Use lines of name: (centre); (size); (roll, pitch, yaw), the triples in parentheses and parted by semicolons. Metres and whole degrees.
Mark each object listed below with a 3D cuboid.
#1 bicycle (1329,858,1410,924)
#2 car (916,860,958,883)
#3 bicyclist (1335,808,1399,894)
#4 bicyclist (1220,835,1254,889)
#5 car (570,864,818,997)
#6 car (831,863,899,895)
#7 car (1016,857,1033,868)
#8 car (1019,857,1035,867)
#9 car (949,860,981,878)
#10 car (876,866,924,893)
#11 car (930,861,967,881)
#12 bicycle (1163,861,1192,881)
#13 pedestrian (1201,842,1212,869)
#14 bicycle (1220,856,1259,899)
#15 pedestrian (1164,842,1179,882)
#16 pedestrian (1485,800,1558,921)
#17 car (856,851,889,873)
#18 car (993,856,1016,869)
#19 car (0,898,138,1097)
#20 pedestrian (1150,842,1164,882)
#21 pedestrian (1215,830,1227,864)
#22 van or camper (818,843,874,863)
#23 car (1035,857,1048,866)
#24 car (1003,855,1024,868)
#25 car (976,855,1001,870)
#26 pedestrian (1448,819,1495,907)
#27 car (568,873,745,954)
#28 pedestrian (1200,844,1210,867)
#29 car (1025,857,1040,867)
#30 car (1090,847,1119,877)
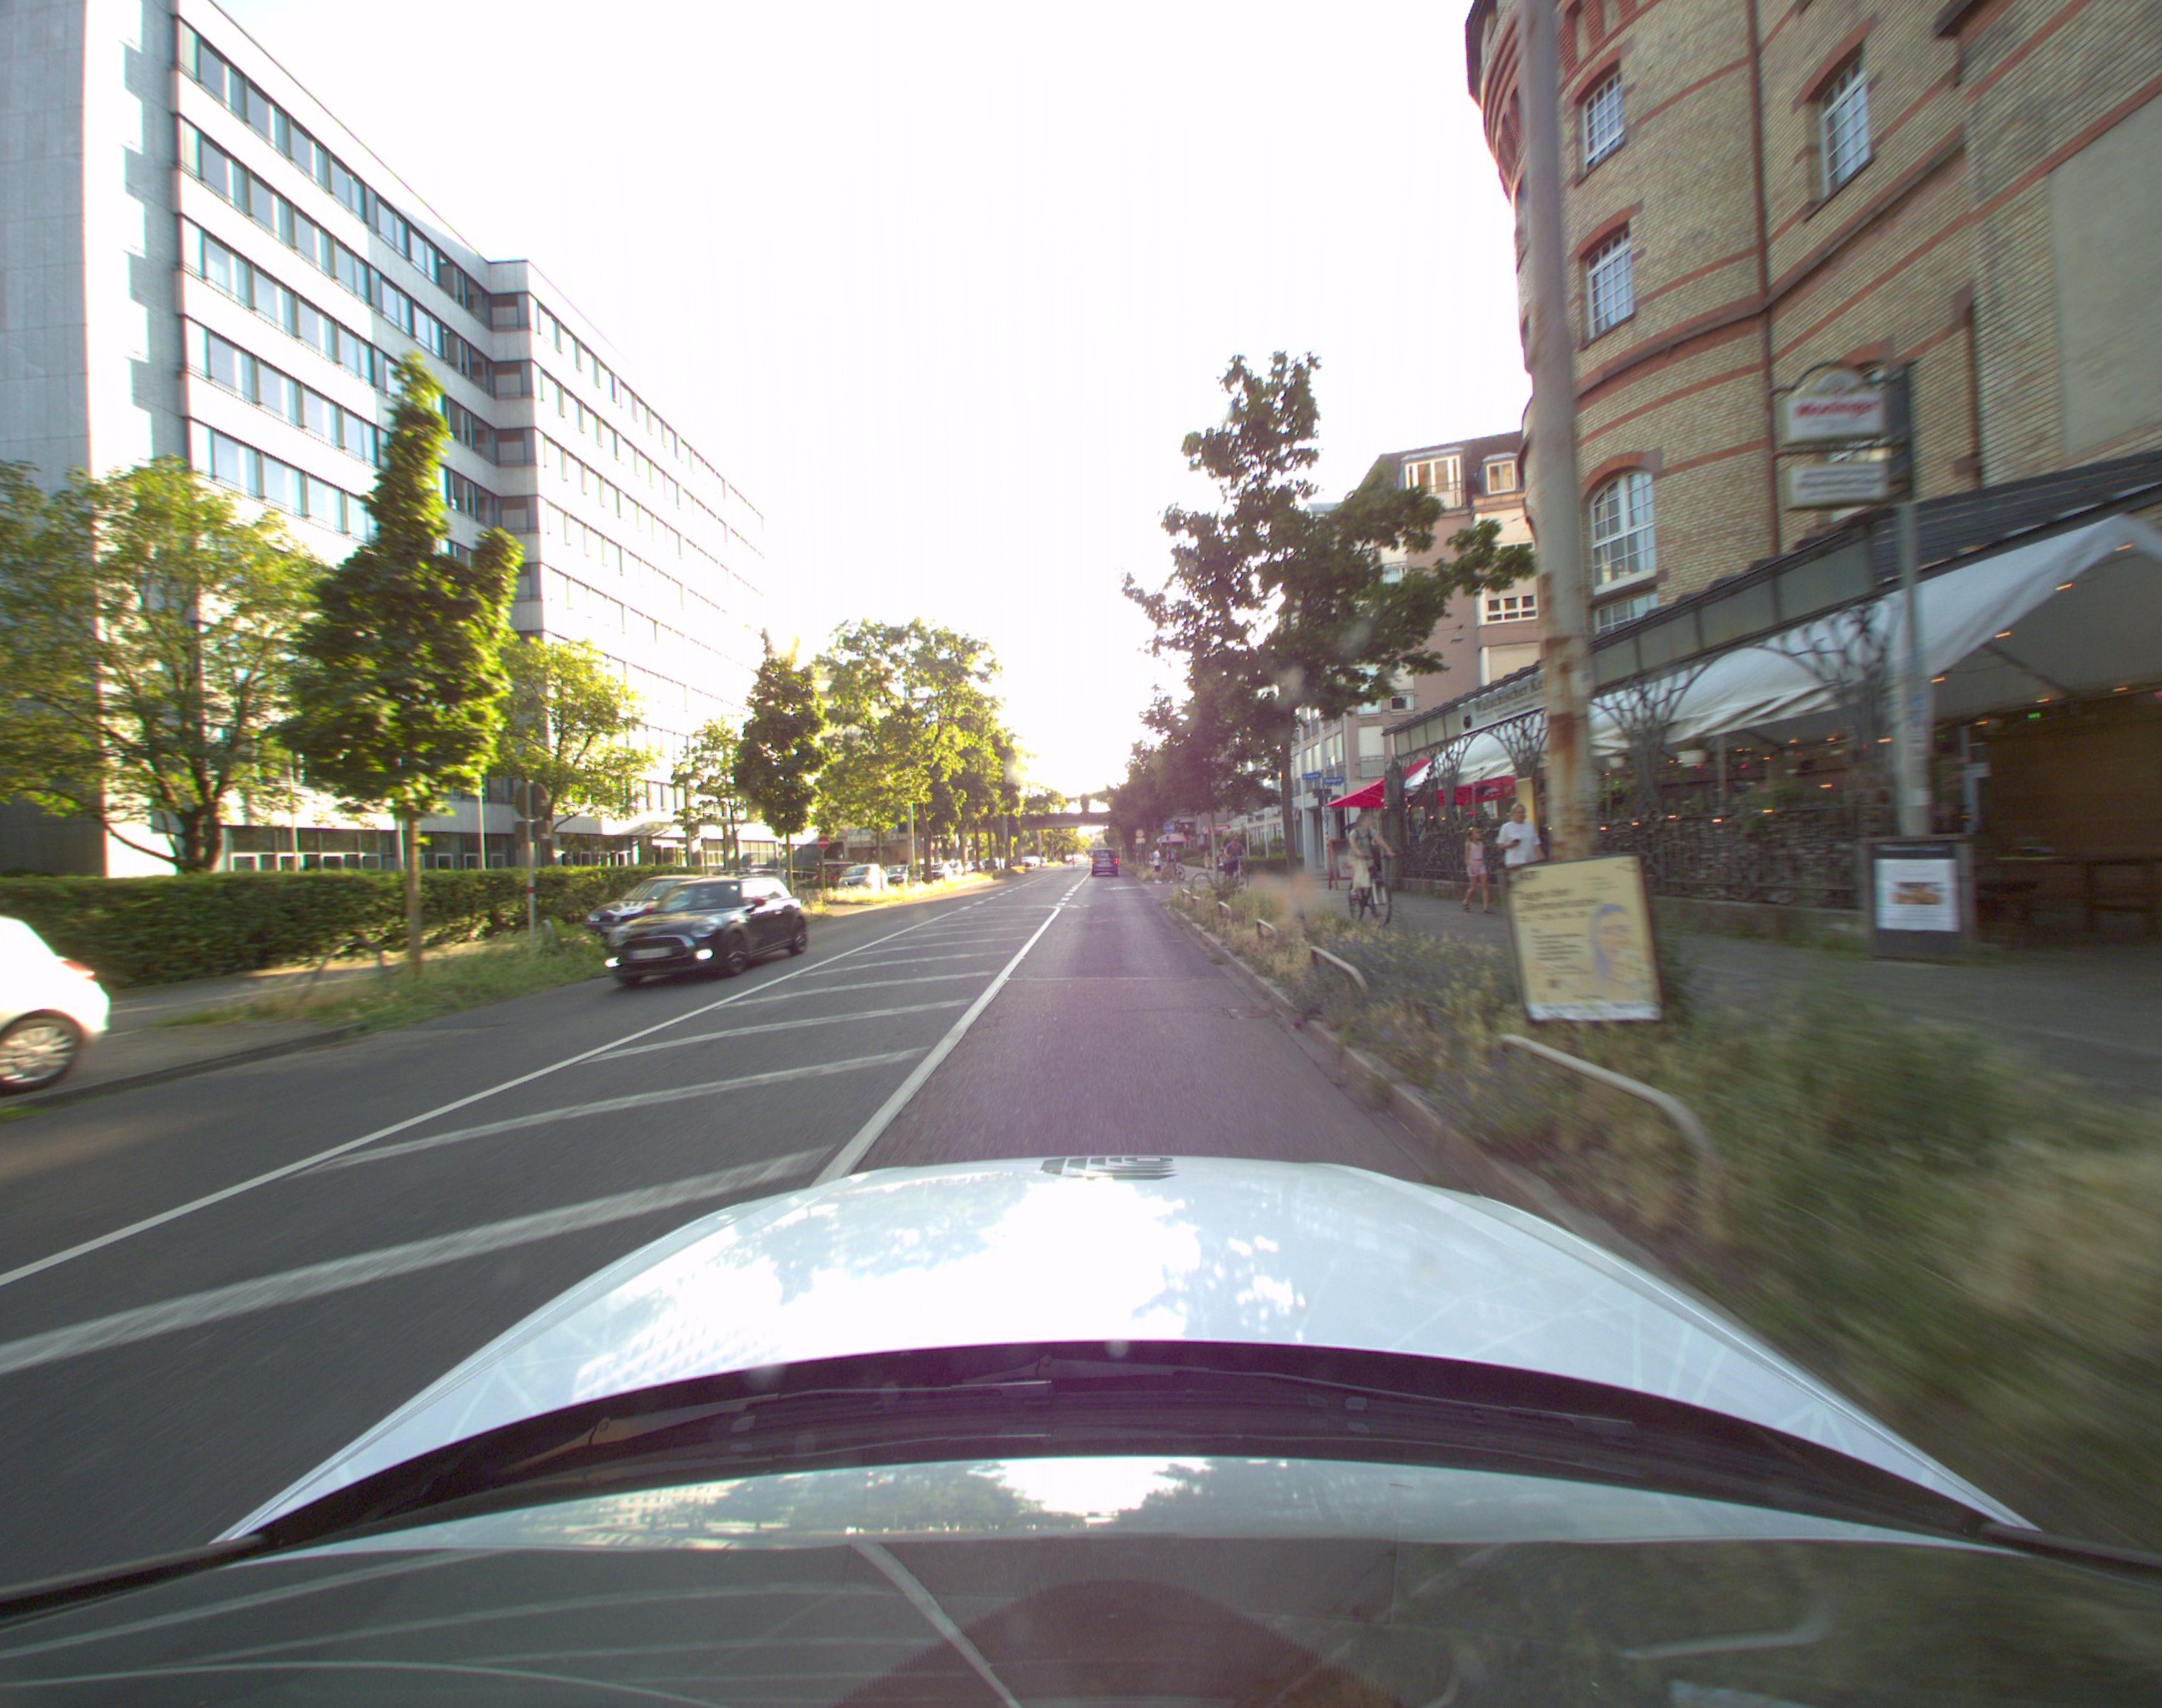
bicycle: (4.321, 0.519, 12.341); (0.577, 0.897, 1.988); (-1, 0, 2)
car: (-9.949, 1.187, 56.535); (1.986, 1.414, 4.239); (-1, 0, 2)
bicyclist: (4.322, -0.052, 12.379); (0.583, 1.236, 1.112); (-1, 0, 1)
bicyclist: (4.671, 0.233, 24.444); (0.750, 1.558, 0.936); (-1, 0, -6)
car: (-5.652, 1.013, 12.529); (1.673, 1.530, 4.002); (-5, 0, 2)
car: (-10.263, 1.165, 38.996); (1.986, 1.310, 4.067); (-1, 0, 2)
car: (-8.019, 1.163, 115.680); (1.986, 1.414, 4.239); (-1, 0, 2)
car: (-7.946, 1.144, 120.254); (1.986, 1.414, 4.239); (-1, 0, 2)
car: (-9.827, 1.223, 69.170); (1.986, 1.414, 4.239); (-1, 0, 2)
car: (-10.082, 1.394, 45.705); (1.665, 1.314, 3.966); (-1, 0, 2)
car: (-10.114, 1.257, 62.357); (1.986, 1.414, 4.239); (-1, 0, 2)
bicycle: (4.661, 0.821, 39.462); (0.590, 0.897, 1.975); (-1, 0, -18)
pedestrian: (9.721, 0.106, 63.080); (0.712, 2.041, 0.615); (-1, 0, 1)
bicycle: (4.726, 0.673, 24.438); (0.546, 1.226, 1.982); (-1, 0, -7)
pedestrian: (4.295, 0.380, 38.609); (0.505, 1.888, 0.543); (-1, 0, -13)
pedestrian: (6.125, 0.085, 11.350); (0.642, 1.633, 0.656); (-1, 0, 2)
car: (-22.725, 0.845, 88.882); (1.986, 2.307, 5.247); (-1, 0, 2)
car: (-8.578, 0.962, 91.607); (1.986, 1.414, 4.238); (-1, 0, 2)
car: (-9.066, 1.138, 5.060); (1.691, 1.451, 4.000); (-1, 0, 1)
pedestrian: (3.641, 0.401, 39.092); (0.505, 1.888, 0.543); (-1, 0, -13)
pedestrian: (10.582, -0.508, 61.619); (0.712, 2.538, 0.824); (-1, 0, 1)
van or camper: (-30.802, -0.129, 106.907); (6.542, 2.522, 2.449); (-1, 0, -1)
car: (-7.246, 1.335, 148.830); (1.986, 1.414, 4.239); (-1, 0, 2)
car: (-8.149, 0.898, 98.288); (1.986, 1.414, 4.238); (-1, 0, 2)
car: (-9.401, 0.841, 83.120); (1.986, 1.414, 4.239); (-1, 0, 2)
pedestrian: (6.173, 0.136, 12.885); (0.465, 1.350, 0.530); (-1, 0, 2)
car: (-8.881, 1.176, 17.452); (1.632, 1.385, 4.000); (-1, 0, 1)
pedestrian: (9.718, 0.098, 63.761); (0.712, 1.818, 0.615); (-1, 0, 1)
car: (-7.774, 1.242, 130.893); (1.986, 1.414, 4.239); (-1, 0, 2)
car: (1.694, 0.508, 57.529); (1.880, 1.925, 3.842); (-4, 0, 2)
